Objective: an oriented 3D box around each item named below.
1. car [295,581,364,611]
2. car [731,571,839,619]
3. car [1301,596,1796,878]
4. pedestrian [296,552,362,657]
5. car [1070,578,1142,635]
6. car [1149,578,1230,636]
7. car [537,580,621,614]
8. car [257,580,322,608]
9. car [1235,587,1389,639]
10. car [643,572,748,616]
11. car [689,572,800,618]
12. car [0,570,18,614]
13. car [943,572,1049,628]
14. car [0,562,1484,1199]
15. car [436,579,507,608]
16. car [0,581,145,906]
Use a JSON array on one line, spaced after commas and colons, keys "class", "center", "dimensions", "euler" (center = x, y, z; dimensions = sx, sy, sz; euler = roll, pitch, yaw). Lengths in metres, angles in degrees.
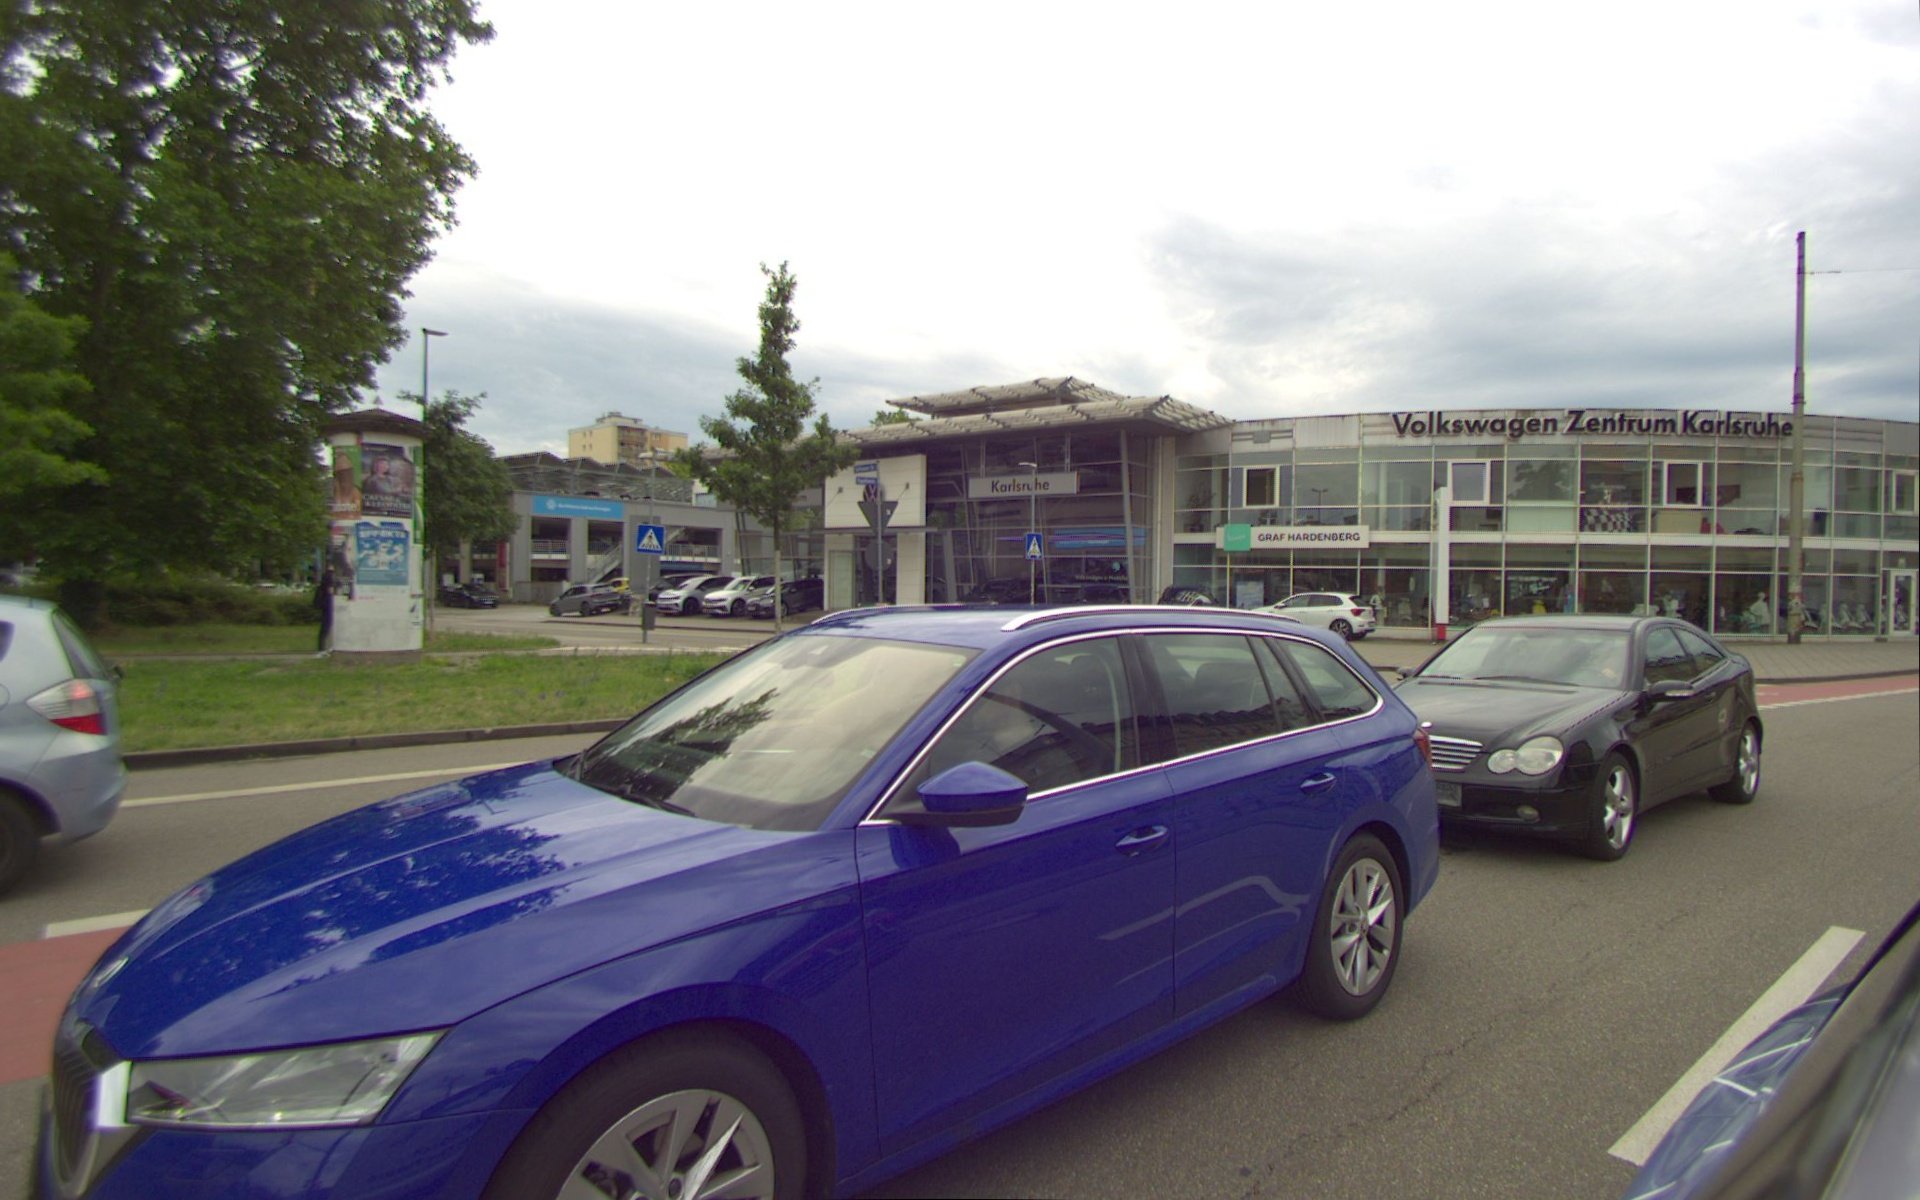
[{"class": "car", "center": [-37.080, -0.280, 59.491], "dimensions": [4.446, 1.643, 1.838], "euler": [2, 2, 35]}, {"class": "car", "center": [-7.332, -0.245, 42.841], "dimensions": [1.886, 1.717, 4.421], "euler": [0, 4, 36]}, {"class": "car", "center": [4.332, 0.708, 7.205], "dimensions": [3.996, 1.439, 1.714], "euler": [0, 1, -39]}, {"class": "pedestrian", "center": [-11.557, 0.076, 18.555], "dimensions": [0.527, 1.867, 0.985], "euler": [1, 1, 6]}, {"class": "car", "center": [4.695, 0.158, 33.118], "dimensions": [1.824, 1.522, 4.340], "euler": [0, 4, 2]}, {"class": "car", "center": [7.343, 0.171, 32.732], "dimensions": [1.867, 1.581, 4.219], "euler": [1, 3, 4]}, {"class": "car", "center": [-18.654, -0.158, 49.487], "dimensions": [3.988, 1.583, 1.896], "euler": [0, 2, 35]}, {"class": "car", "center": [-41.736, -0.406, 62.965], "dimensions": [4.446, 1.643, 1.838], "euler": [2, 2, 35]}, {"class": "car", "center": [10.998, 0.359, 31.786], "dimensions": [4.243, 1.471, 1.757], "euler": [1, 1, 40]}, {"class": "car", "center": [-11.996, -0.326, 46.181], "dimensions": [1.859, 1.719, 4.419], "euler": [0, 4, 37]}, {"class": "car", "center": [-9.415, -0.271, 44.586], "dimensions": [1.850, 1.719, 4.716], "euler": [0, 4, 36]}, {"class": "car", "center": [-36.515, -0.325, 36.323], "dimensions": [4.408, 1.567, 1.854], "euler": [1, 1, 13]}, {"class": "car", "center": [1.345, -0.048, 35.854], "dimensions": [1.846, 1.652, 4.464], "euler": [0, 4, 31]}, {"class": "car", "center": [-0.122, 0.663, 3.338], "dimensions": [4.387, 1.507, 1.783], "euler": [-1, 2, -41]}, {"class": "car", "center": [-29.003, -0.395, 60.039], "dimensions": [4.446, 1.567, 1.876], "euler": [2, 2, 35]}, {"class": "car", "center": [-6.109, 0.652, 4.335], "dimensions": [4.027, 1.485, 1.752], "euler": [0, 1, -41]}]
